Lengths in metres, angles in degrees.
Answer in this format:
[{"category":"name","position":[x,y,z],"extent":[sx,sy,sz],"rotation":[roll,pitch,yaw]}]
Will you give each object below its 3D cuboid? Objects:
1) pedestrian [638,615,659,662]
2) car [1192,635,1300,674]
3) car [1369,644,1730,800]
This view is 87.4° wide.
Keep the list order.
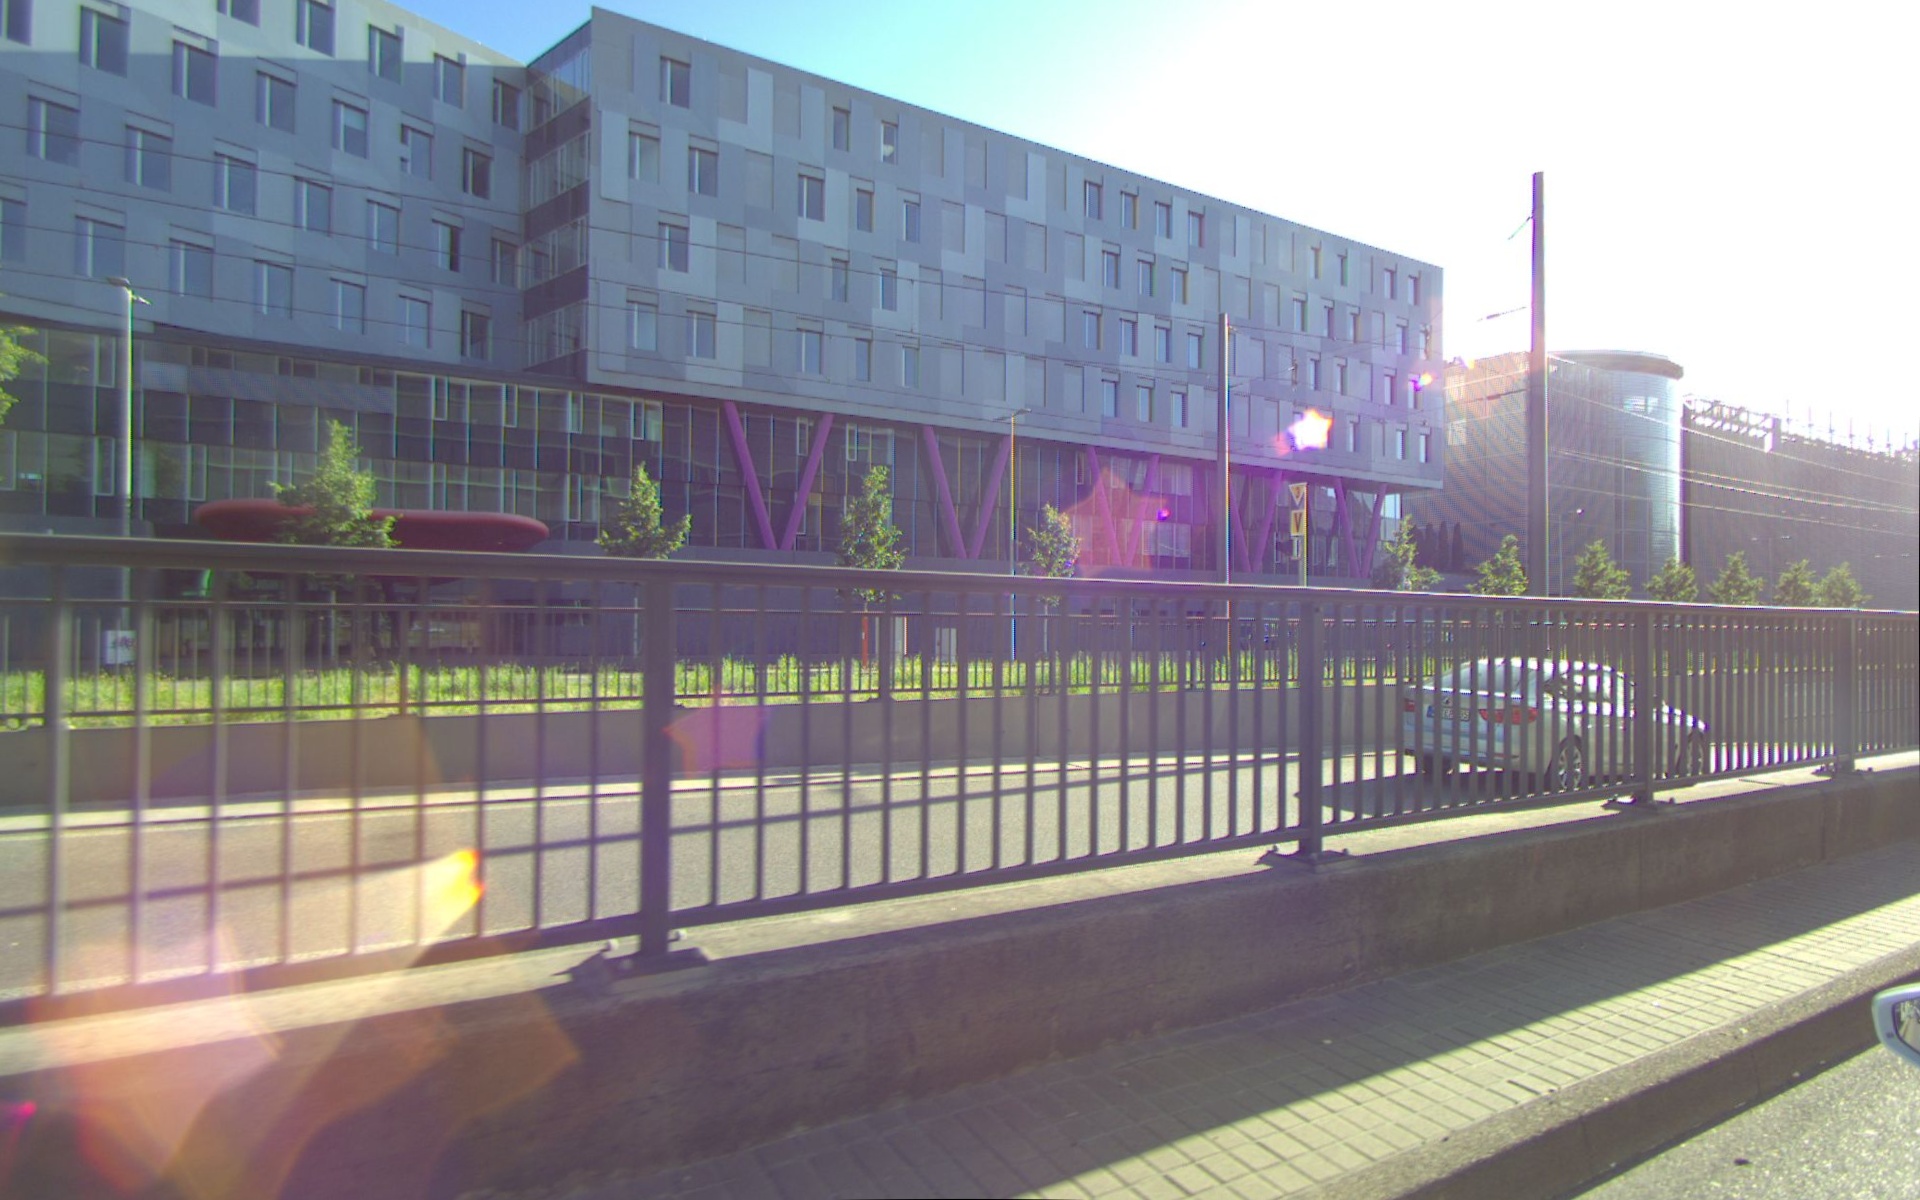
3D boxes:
[{"category":"pedestrian","position":[-13.530,1.660,43.614],"extent":[0.681,2.040,0.733],"rotation":[1,-1,-29]},{"category":"car","position":[12.608,2.369,44.200],"extent":[4.660,1.547,1.791],"rotation":[1,0,-29]},{"category":"car","position":[7.536,1.392,12.704],"extent":[4.853,1.547,1.790],"rotation":[1,0,-30]}]
